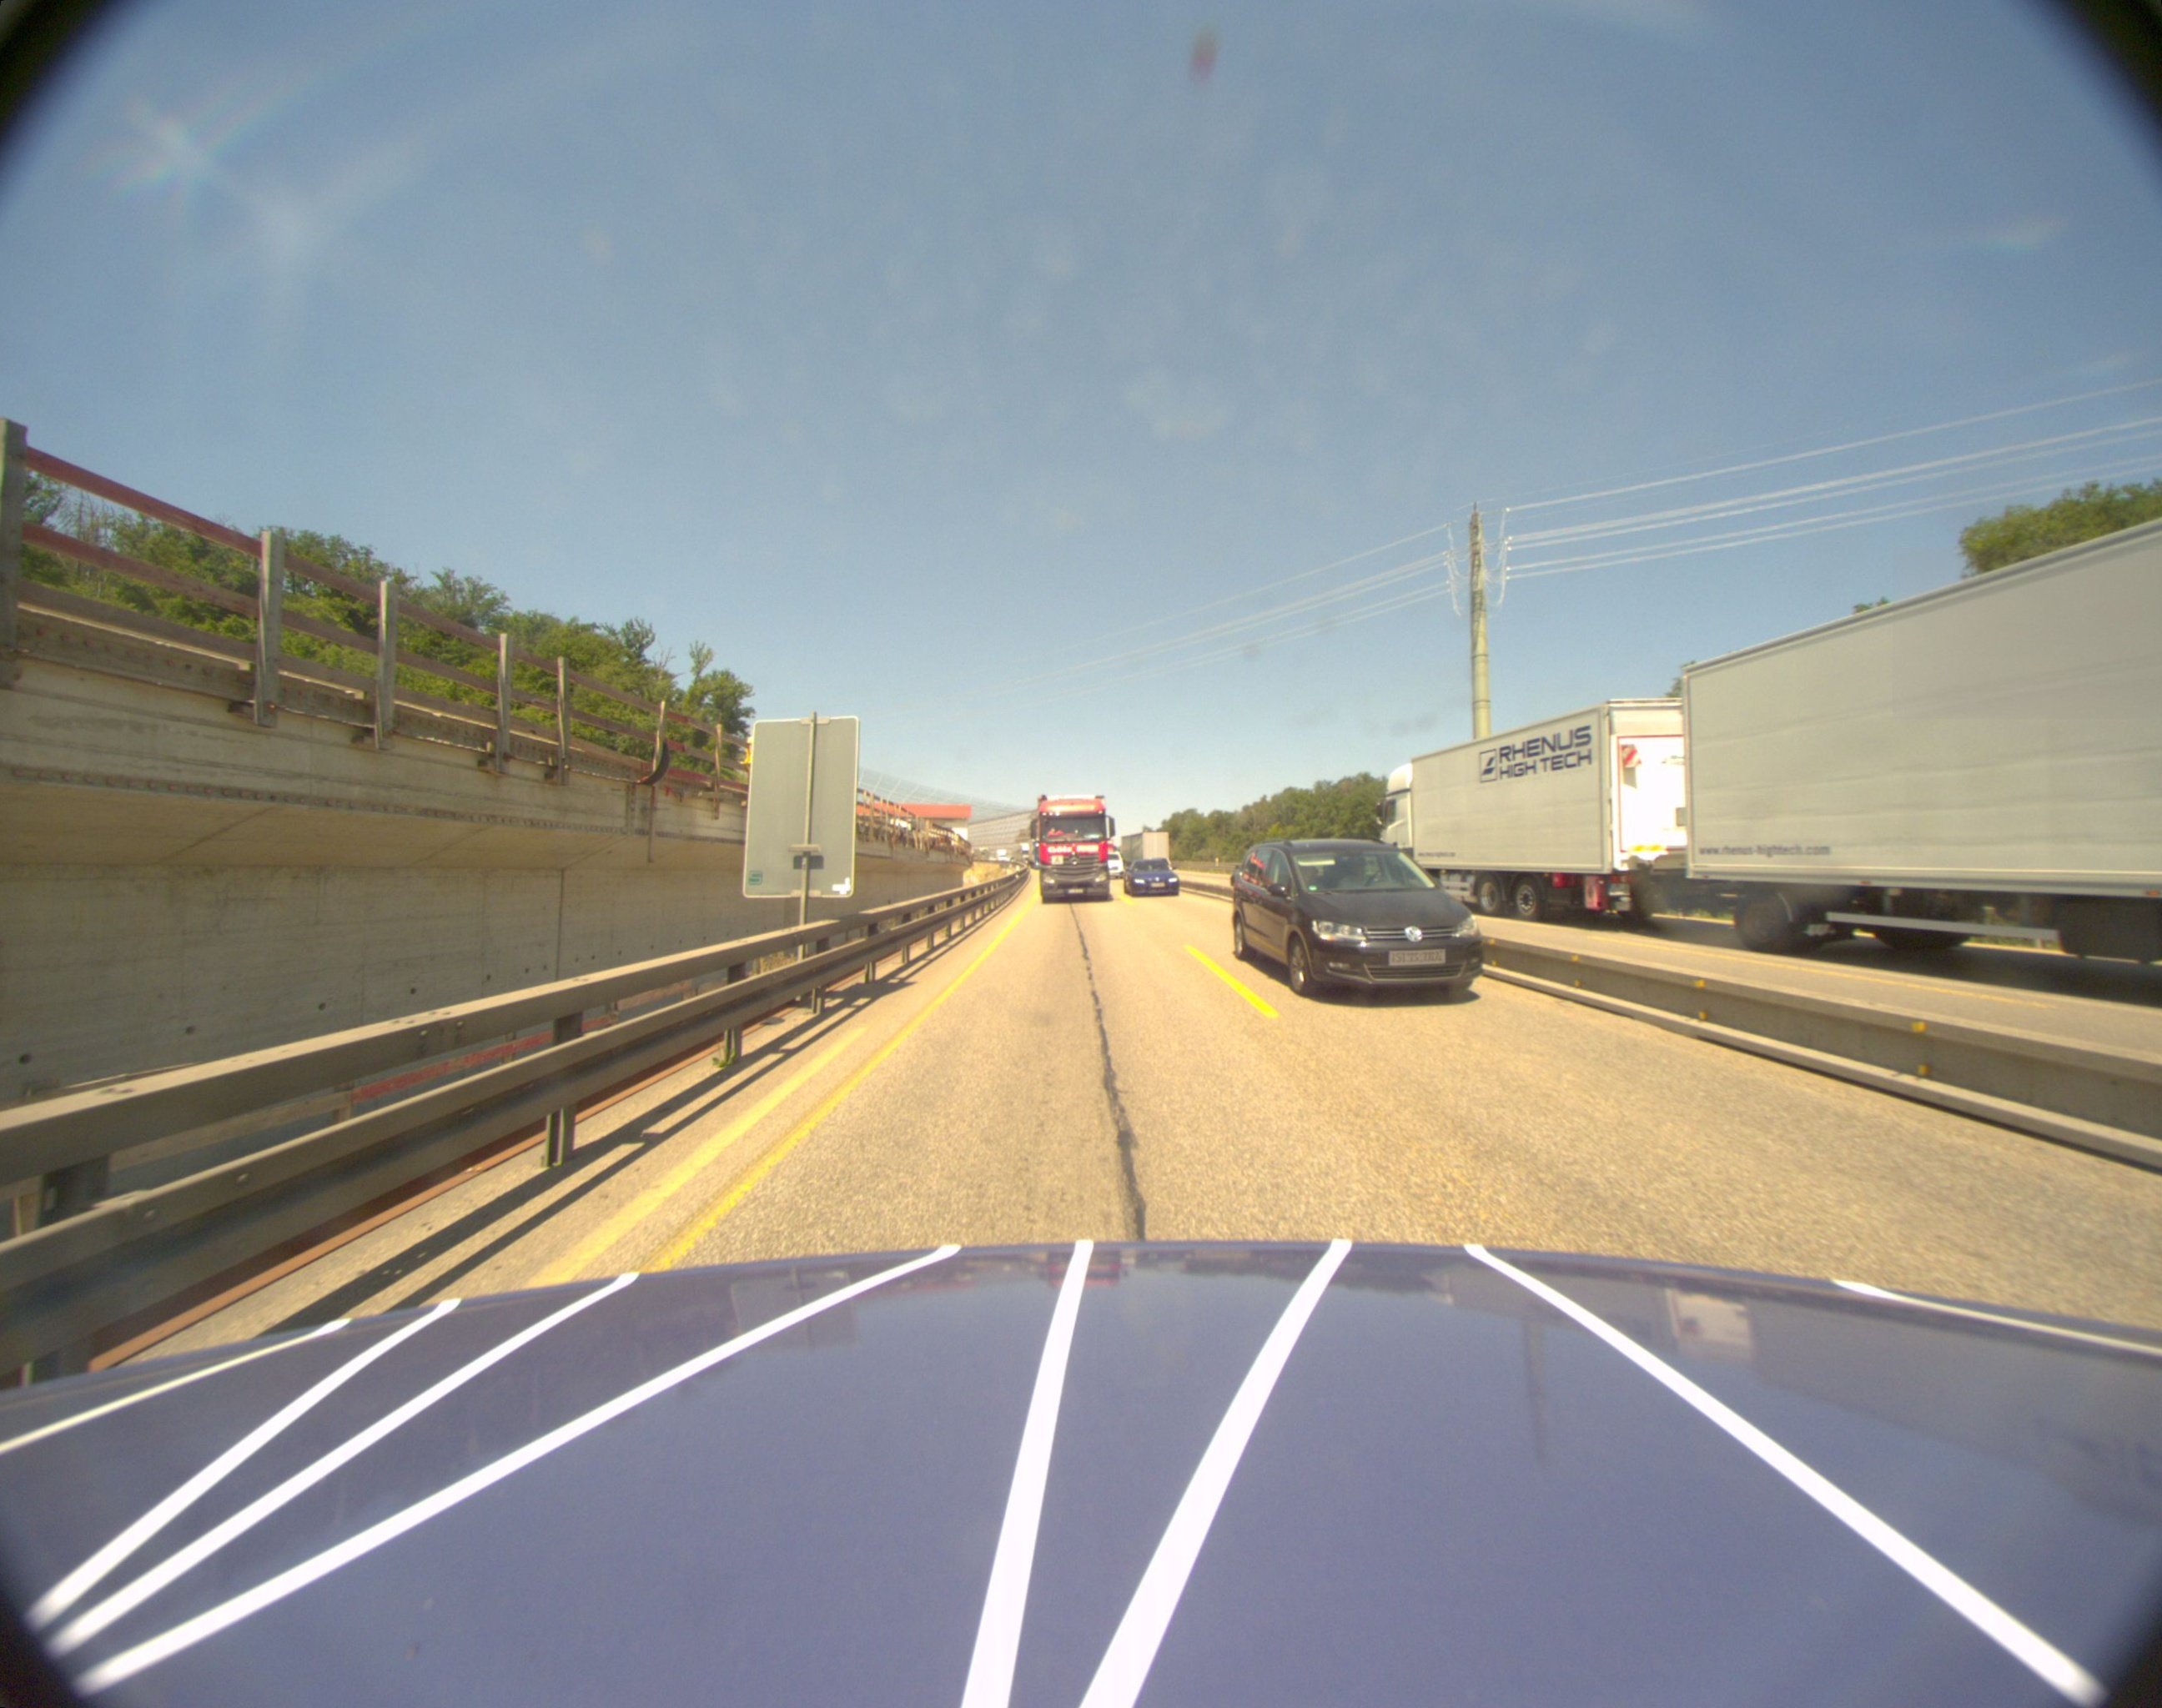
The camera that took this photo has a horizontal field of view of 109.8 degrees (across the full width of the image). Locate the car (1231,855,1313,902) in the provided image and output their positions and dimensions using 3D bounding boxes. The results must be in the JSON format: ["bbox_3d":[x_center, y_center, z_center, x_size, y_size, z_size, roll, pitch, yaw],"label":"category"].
[{"bbox_3d":[6.615,0.793,26.822,1.786,1.470,4.621,-2,0,1],"label":"car"}]

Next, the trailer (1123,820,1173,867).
[{"bbox_3d":[7.087,-0.969,82.994,2.842,4.613,14.576,-2,-1,-5],"label":"trailer"}]

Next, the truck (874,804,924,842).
[{"bbox_3d":[-20.082,-3.343,84.054,2.714,3.672,5.720,-1,-2,18],"label":"truck"}]

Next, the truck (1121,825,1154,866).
[{"bbox_3d":[6.619,-0.883,89.504,2.855,4.552,5.786,-2,-1,-4],"label":"truck"}]

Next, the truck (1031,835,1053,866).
[{"bbox_3d":[-5.448,-0.395,104.812,2.672,3.985,10.426,-2,0,-4],"label":"truck"}]

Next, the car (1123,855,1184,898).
[{"bbox_3d":[2.865,0.871,31.060,1.896,1.546,4.785,-2,0,-1],"label":"car"}]

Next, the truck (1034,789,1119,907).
[{"bbox_3d":[-0.370,-0.294,31.219,2.799,3.986,10.425,-2,1,-2],"label":"truck"}]

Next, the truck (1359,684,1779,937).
[{"bbox_3d":[10.082,-0.696,17.947,2.986,4.137,10.544,-2,0,0],"label":"truck"}]

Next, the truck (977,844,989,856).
[{"bbox_3d":[-30.237,-1.296,234.932,3.042,3.725,8.245,-2,1,-4],"label":"truck"}]

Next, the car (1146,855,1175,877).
[{"bbox_3d":[5.767,0.838,55.815,1.585,1.512,4.154,-2,0,-1],"label":"car"}]

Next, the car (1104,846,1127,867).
[{"bbox_3d":[3.831,0.255,85.126,1.999,2.161,4.830,-2,1,-3],"label":"car"}]

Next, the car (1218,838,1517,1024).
[{"bbox_3d":[3.154,0.737,9.754,1.861,1.695,5.304,-2,0,1],"label":"car"}]

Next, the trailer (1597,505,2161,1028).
[{"bbox_3d":[10.088,-0.725,8.113,3.011,4.141,9.017,-2,0,0],"label":"trailer"}]

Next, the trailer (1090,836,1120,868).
[{"bbox_3d":[3.787,-0.239,123.415,3.073,4.787,13.995,-2,0,-5],"label":"trailer"}]

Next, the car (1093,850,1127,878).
[{"bbox_3d":[2.058,0.728,55.433,1.947,1.858,5.222,-2,0,-3],"label":"car"}]

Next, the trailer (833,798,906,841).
[{"bbox_3d":[-21.767,-3.462,78.956,2.714,3.671,9.011,-1,-2,18],"label":"trailer"}]

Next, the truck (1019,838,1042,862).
[{"bbox_3d":[-9.578,-0.820,143.113,2.912,4.208,9.231,-2,1,-11],"label":"truck"}]
